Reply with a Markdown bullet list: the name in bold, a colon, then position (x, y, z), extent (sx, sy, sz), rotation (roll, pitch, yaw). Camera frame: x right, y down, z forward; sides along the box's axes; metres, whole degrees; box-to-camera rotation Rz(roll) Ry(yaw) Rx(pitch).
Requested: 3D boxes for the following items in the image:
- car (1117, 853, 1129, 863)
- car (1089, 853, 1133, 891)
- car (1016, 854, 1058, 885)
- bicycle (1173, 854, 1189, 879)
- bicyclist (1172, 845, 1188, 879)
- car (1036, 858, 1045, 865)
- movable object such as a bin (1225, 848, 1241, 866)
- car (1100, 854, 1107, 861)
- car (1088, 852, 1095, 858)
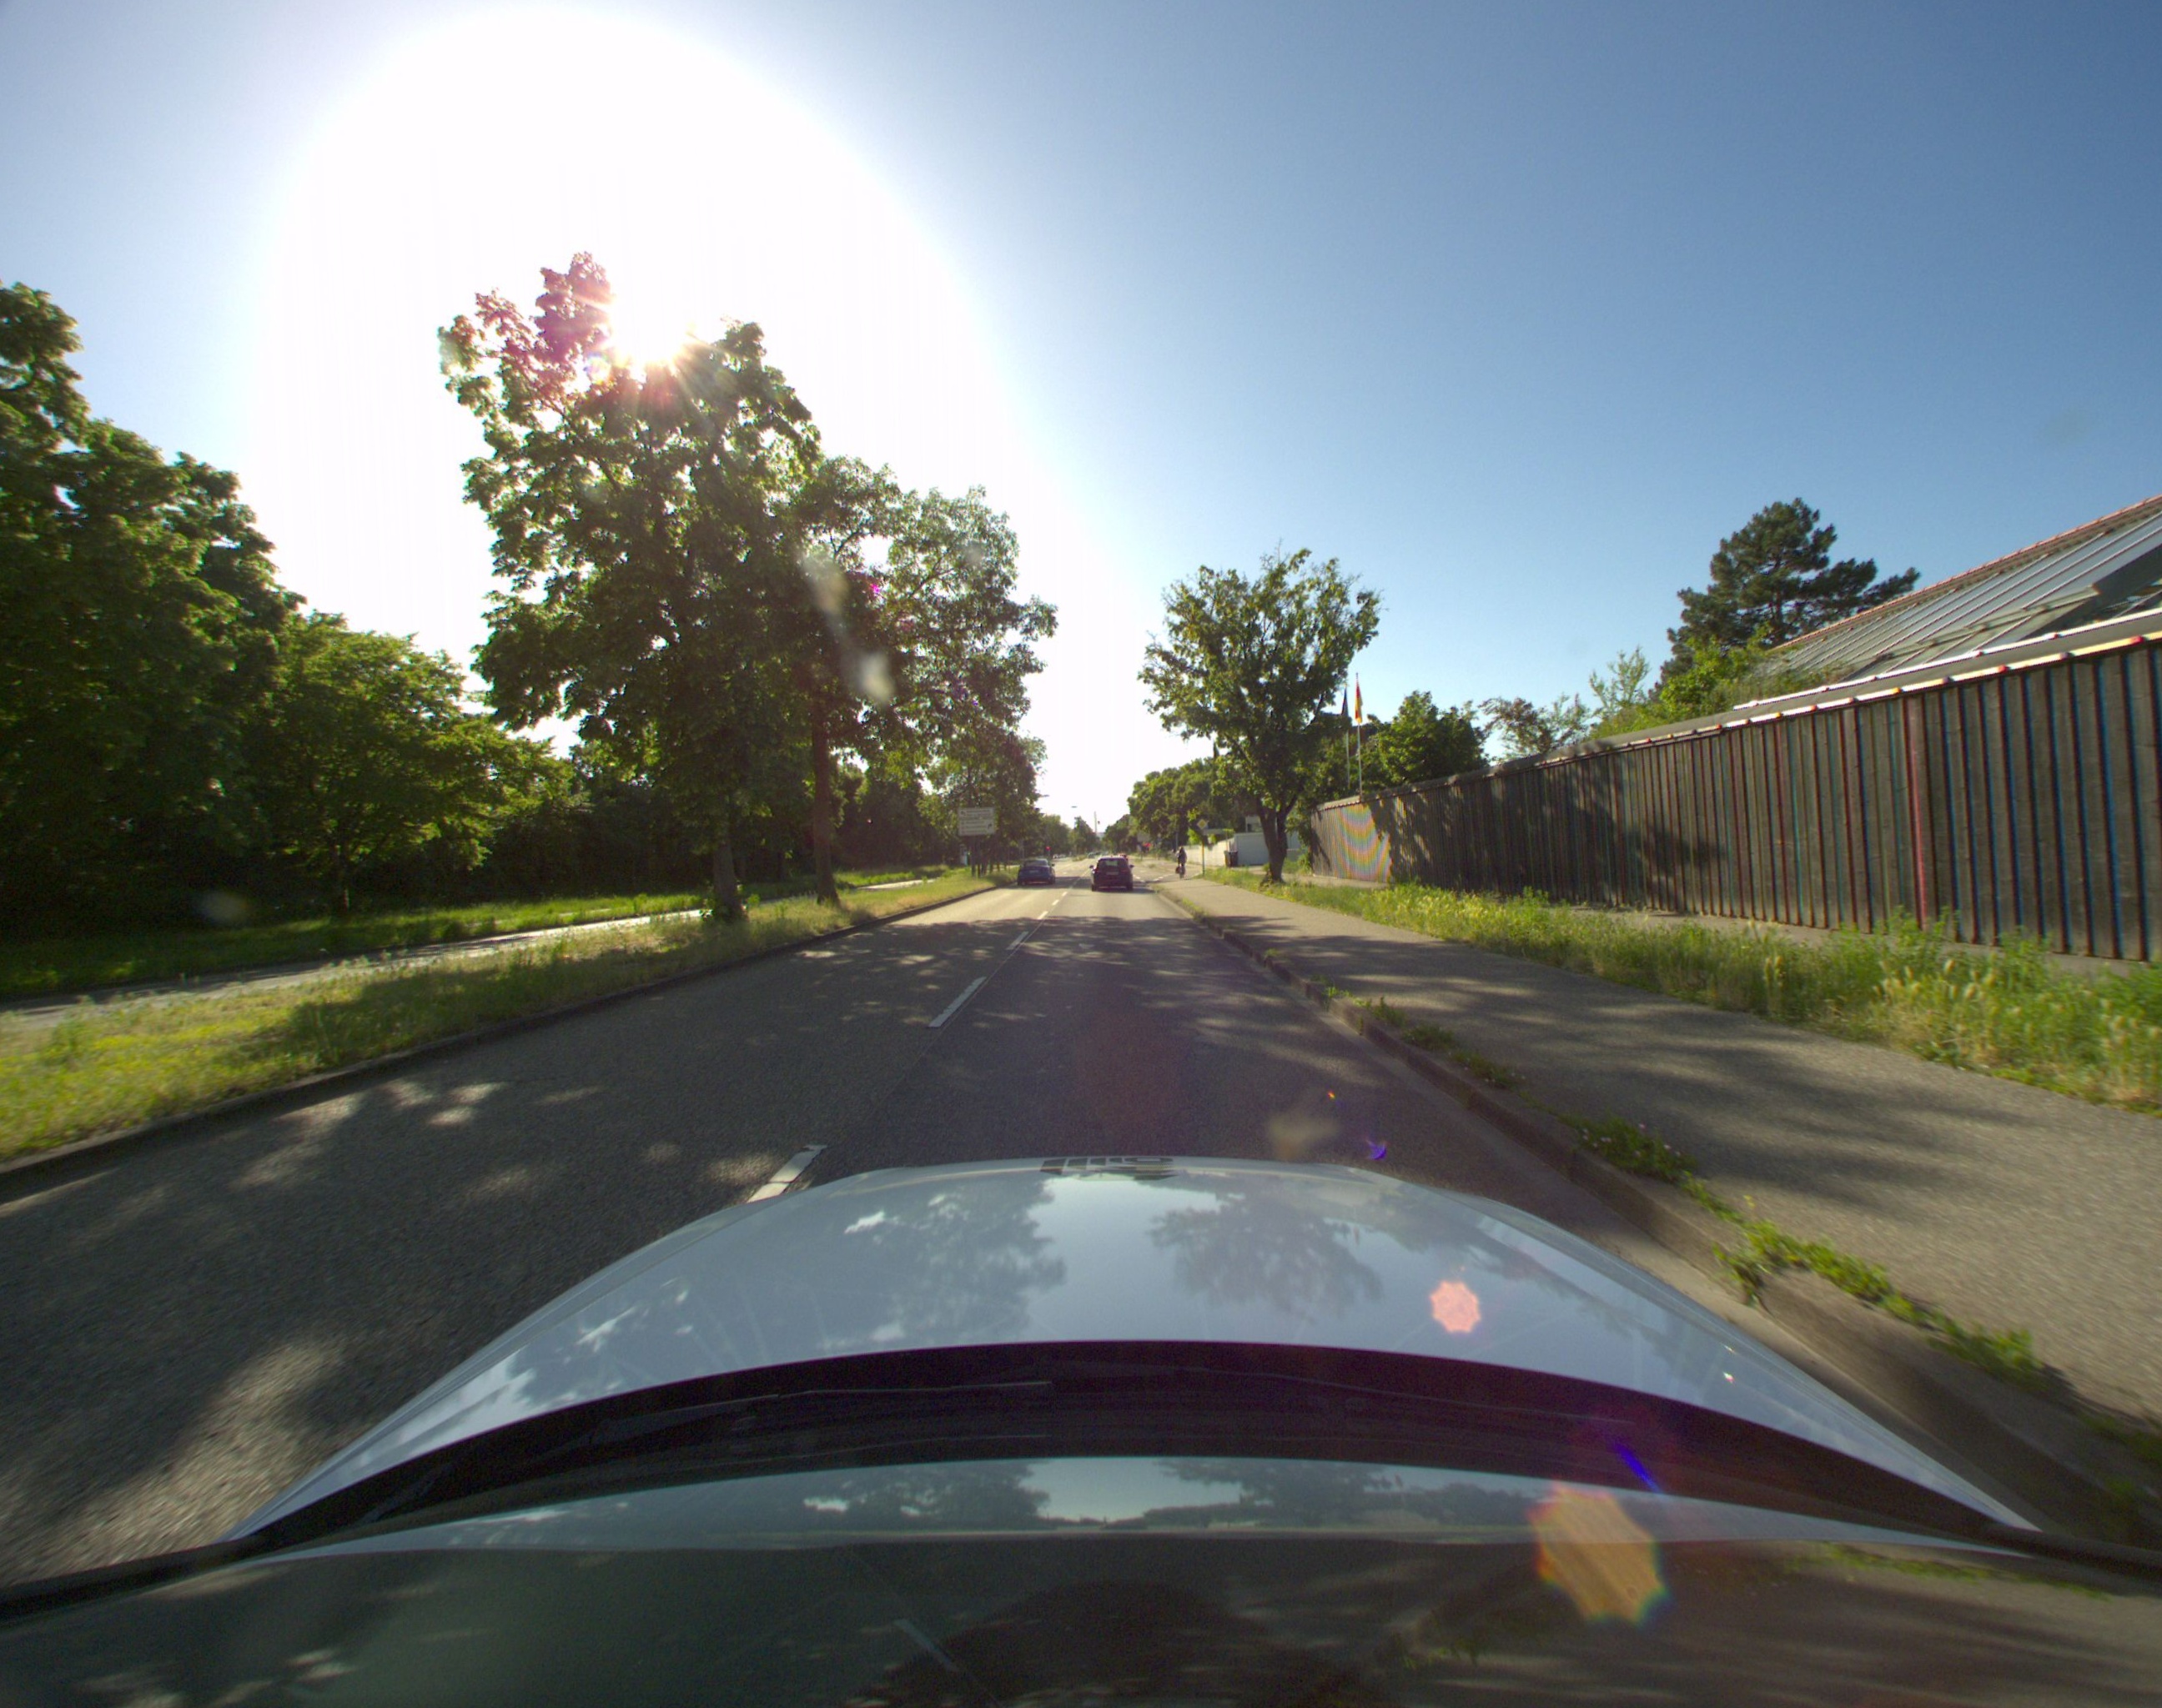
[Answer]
- **car**: position (6.659, 0.633, 129.029), extent (1.724, 1.459, 3.845), rotation (-2, 0, 5)
- **car**: position (1.292, 0.755, 35.209), extent (1.749, 1.509, 3.809), rotation (-2, -1, 1)
- **car**: position (-2.369, 0.839, 44.865), extent (1.882, 1.552, 4.001), rotation (-3, -1, 1)
- **bicycle**: position (5.160, 0.627, 42.038), extent (0.570, 1.155, 2.147), rotation (-6, 0, 11)
- **bicyclist**: position (5.099, 0.398, 41.886), extent (0.626, 1.632, 0.985), rotation (-6, 0, 11)
- **car**: position (-9.880, 1.917, 200.319), extent (1.905, 1.703, 4.409), rotation (-1, -1, 2)
- **movable object such as a bin**: position (10.890, 0.193, 58.244), extent (0.996, 1.205, 1.065), rotation (-4, -1, 8)
- **car**: position (5.314, 0.877, 192.526), extent (1.726, 1.585, 3.840), rotation (0, -1, 1)
- **car**: position (2.799, 0.287, 220.271), extent (1.818, 1.615, 3.840), rotation (0, 1, 0)
